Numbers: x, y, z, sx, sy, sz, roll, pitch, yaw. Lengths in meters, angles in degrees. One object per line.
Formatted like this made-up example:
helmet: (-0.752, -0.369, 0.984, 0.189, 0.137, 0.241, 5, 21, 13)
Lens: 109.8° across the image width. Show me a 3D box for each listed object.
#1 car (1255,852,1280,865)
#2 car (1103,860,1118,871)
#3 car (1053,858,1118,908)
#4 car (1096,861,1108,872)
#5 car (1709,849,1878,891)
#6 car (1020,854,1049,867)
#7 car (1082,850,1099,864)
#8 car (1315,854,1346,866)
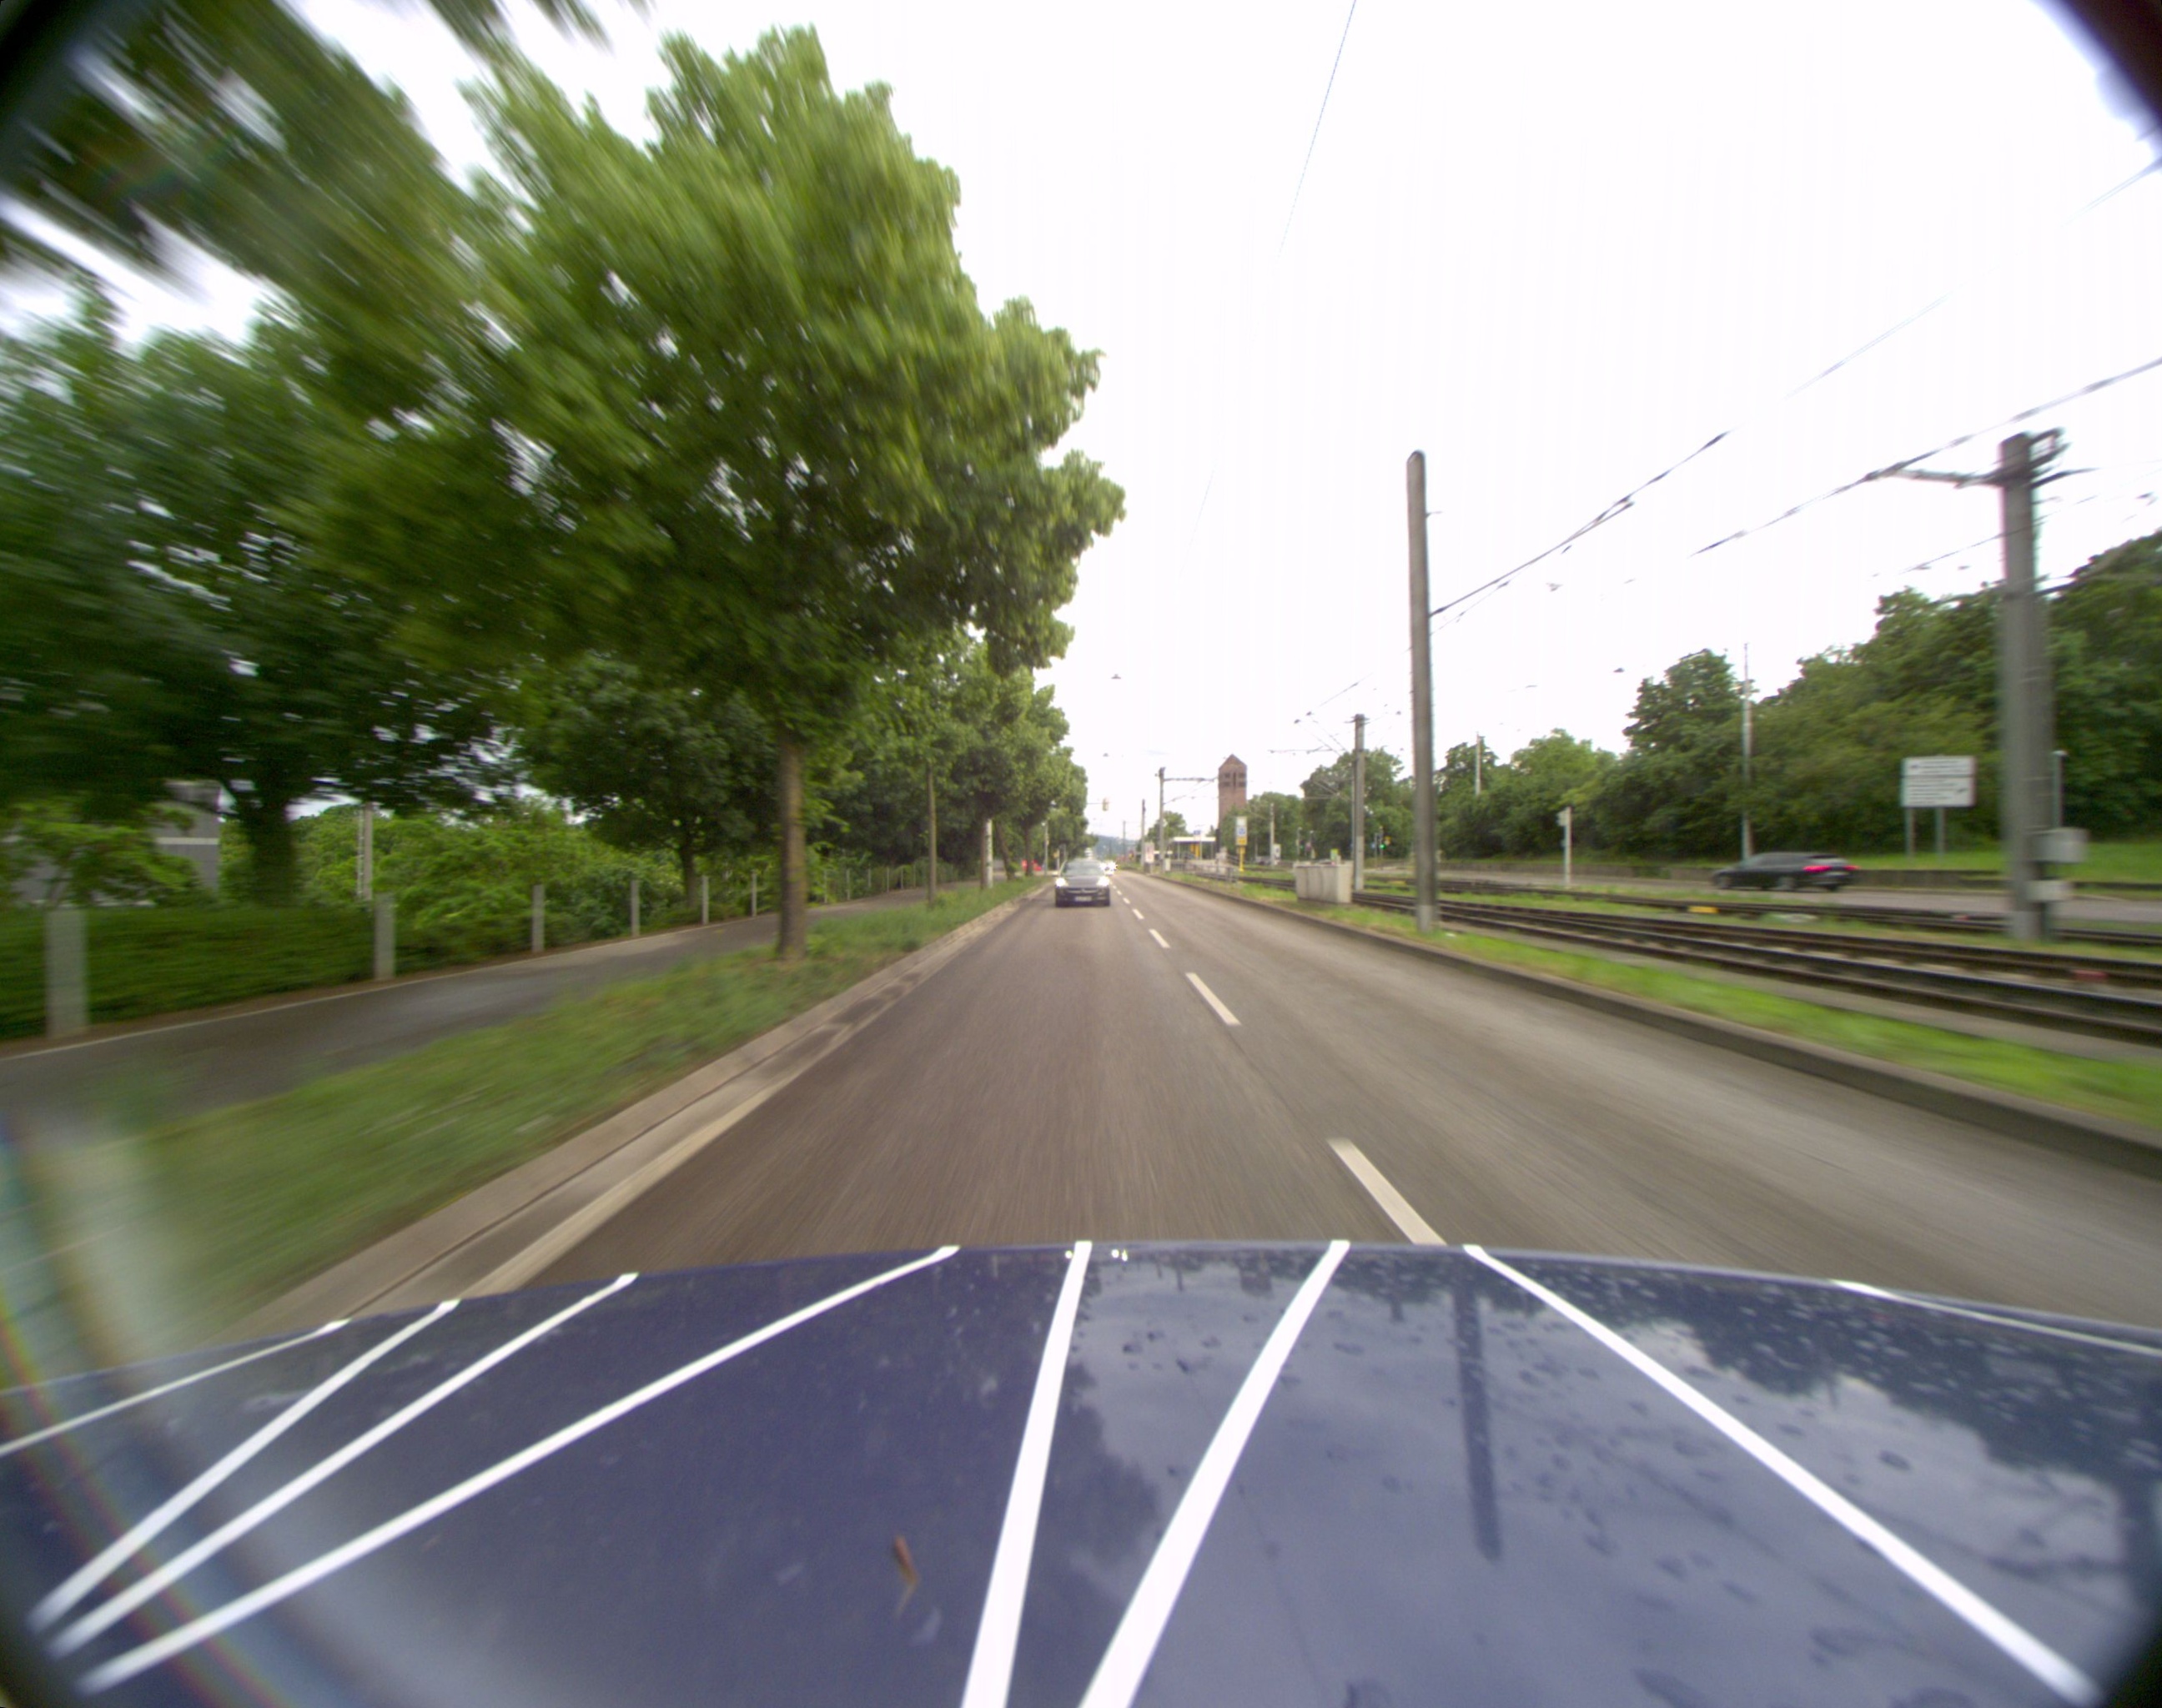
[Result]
car: (24.765, 0.618, 100.929, 2.088, 1.728, 4.862, 0, 0, 0)
car: (3.905, 1.532, 100.574, 1.899, 1.432, 4.247, -1, -1, 1)
car: (0.175, 0.900, 24.882, 1.899, 1.432, 4.474, -1, -1, 1)
car: (3.241, 1.927, 119.032, 1.812, 1.566, 3.971, -2, 0, 1)
car: (26.258, 0.552, 28.288, 1.932, 1.438, 4.682, 0, 0, 0)
car: (-8.322, 1.094, 136.247, 1.994, 2.179, 5.041, -1, 0, 43)
car: (1.102, 0.350, 89.817, 1.998, 1.608, 4.000, -1, 0, 0)
car: (27.068, 0.602, 82.607, 1.932, 1.254, 4.474, 0, 0, 0)
